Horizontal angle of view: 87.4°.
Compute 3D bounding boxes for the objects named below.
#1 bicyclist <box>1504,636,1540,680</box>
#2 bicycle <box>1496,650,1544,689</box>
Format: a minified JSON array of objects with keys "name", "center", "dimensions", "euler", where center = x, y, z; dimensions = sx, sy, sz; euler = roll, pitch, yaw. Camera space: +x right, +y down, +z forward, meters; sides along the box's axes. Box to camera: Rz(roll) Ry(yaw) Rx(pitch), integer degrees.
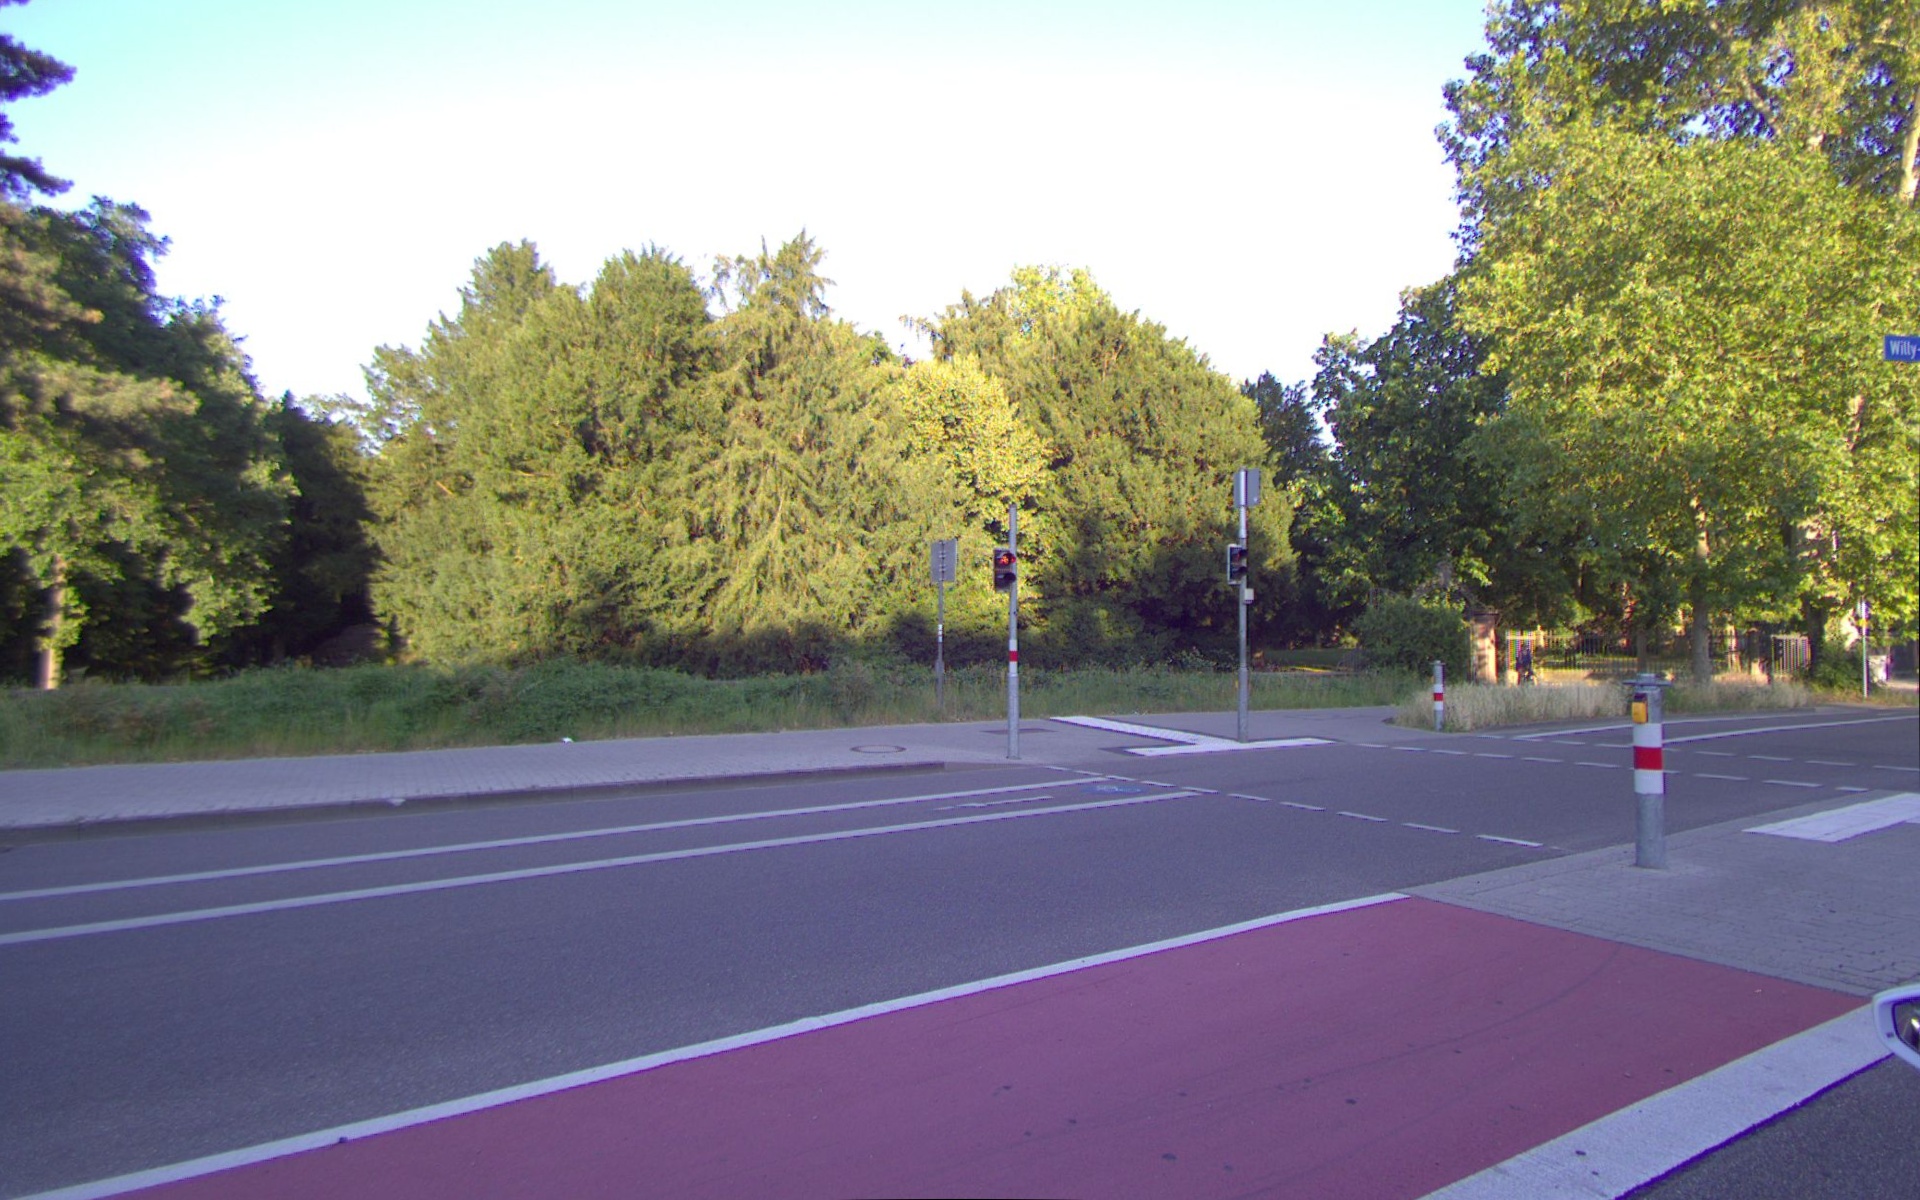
[{"name":"bicyclist","center":[19.108,1.960,34.155],"dimensions":[0.775,1.445,0.893],"euler":[0,-2,8]},{"name":"bicycle","center":[19.120,2.365,34.362],"dimensions":[0.775,1.273,1.981],"euler":[0,-2,8]}]
